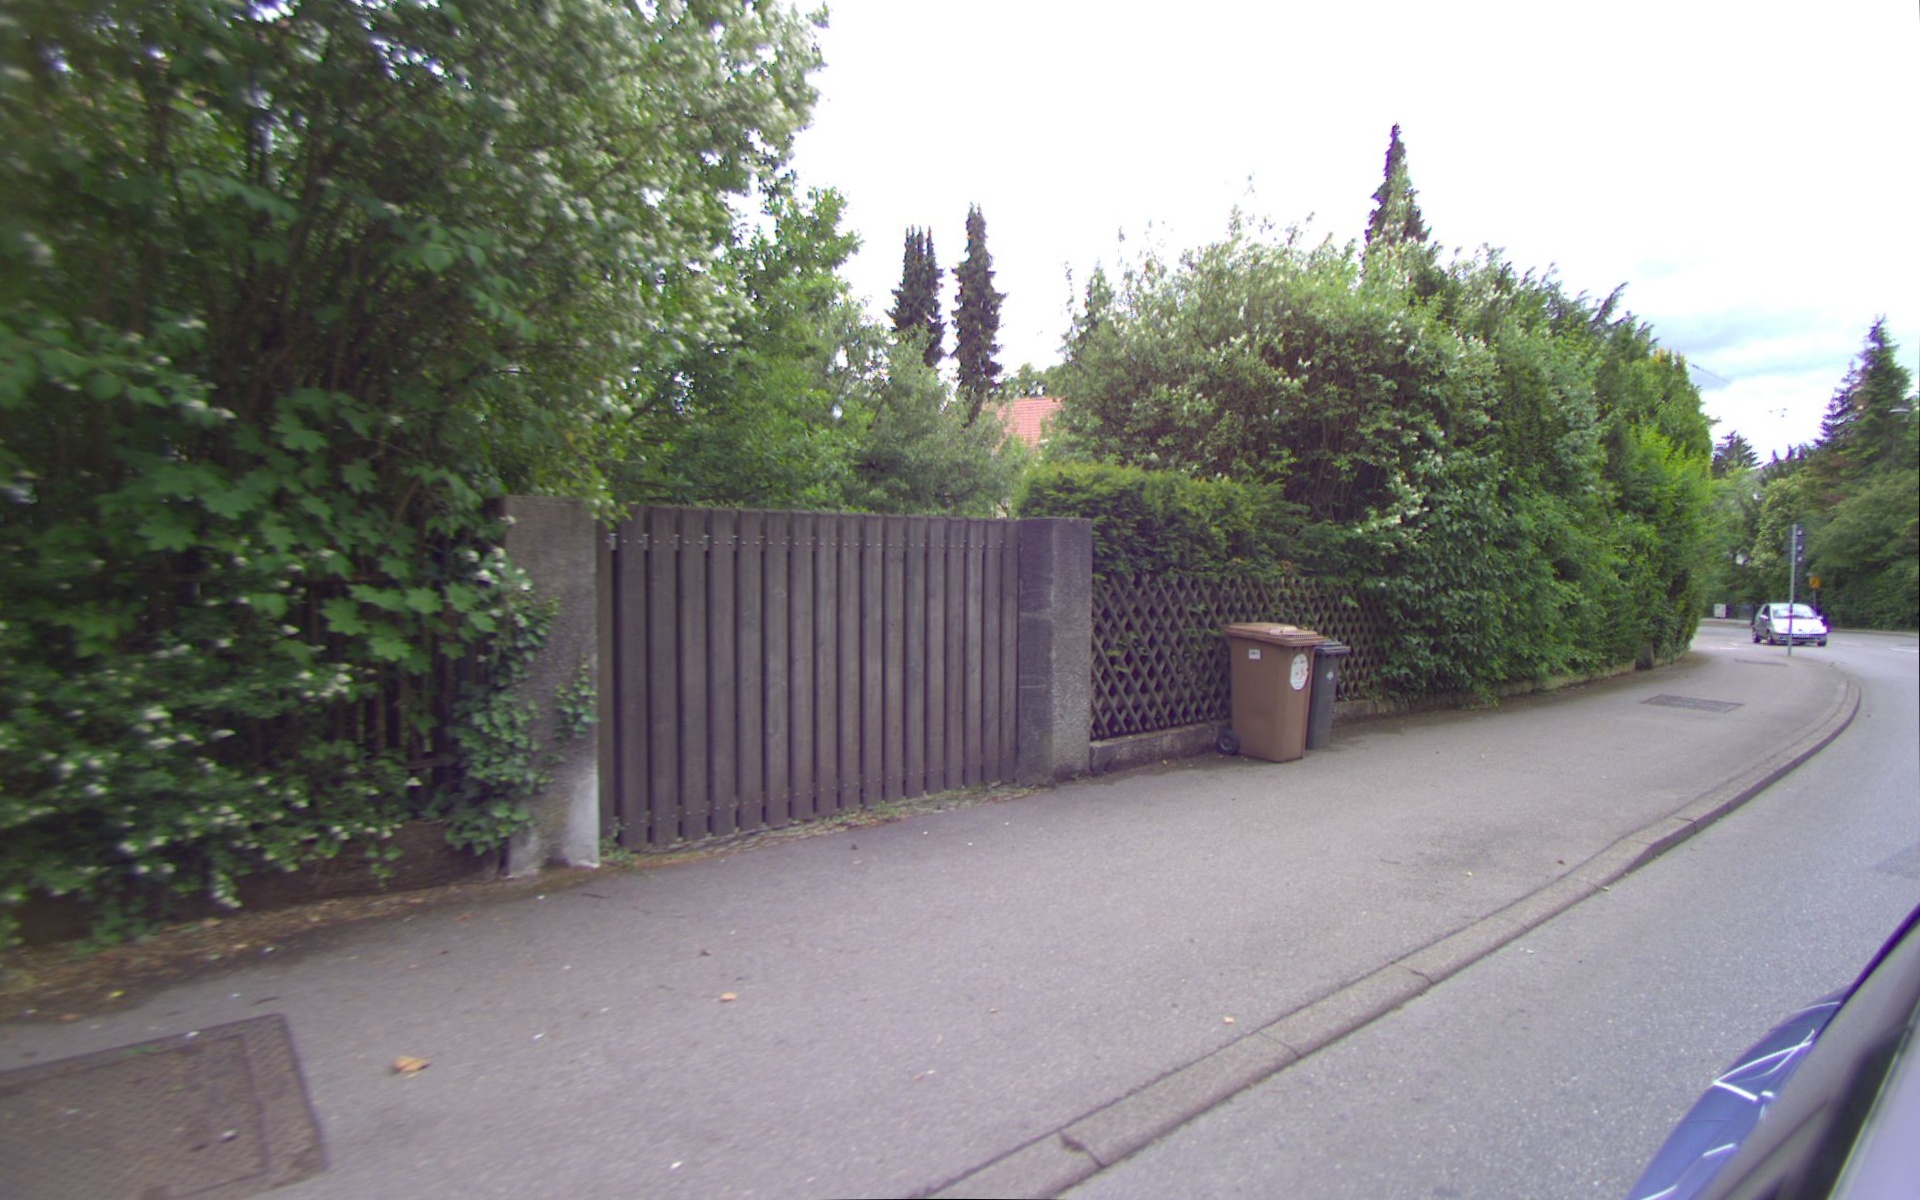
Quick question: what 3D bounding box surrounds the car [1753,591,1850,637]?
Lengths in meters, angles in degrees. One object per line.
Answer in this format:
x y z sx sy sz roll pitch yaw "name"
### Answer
32.038 0.493 38.660 1.981 1.616 3.963 1 0 27 "car"
